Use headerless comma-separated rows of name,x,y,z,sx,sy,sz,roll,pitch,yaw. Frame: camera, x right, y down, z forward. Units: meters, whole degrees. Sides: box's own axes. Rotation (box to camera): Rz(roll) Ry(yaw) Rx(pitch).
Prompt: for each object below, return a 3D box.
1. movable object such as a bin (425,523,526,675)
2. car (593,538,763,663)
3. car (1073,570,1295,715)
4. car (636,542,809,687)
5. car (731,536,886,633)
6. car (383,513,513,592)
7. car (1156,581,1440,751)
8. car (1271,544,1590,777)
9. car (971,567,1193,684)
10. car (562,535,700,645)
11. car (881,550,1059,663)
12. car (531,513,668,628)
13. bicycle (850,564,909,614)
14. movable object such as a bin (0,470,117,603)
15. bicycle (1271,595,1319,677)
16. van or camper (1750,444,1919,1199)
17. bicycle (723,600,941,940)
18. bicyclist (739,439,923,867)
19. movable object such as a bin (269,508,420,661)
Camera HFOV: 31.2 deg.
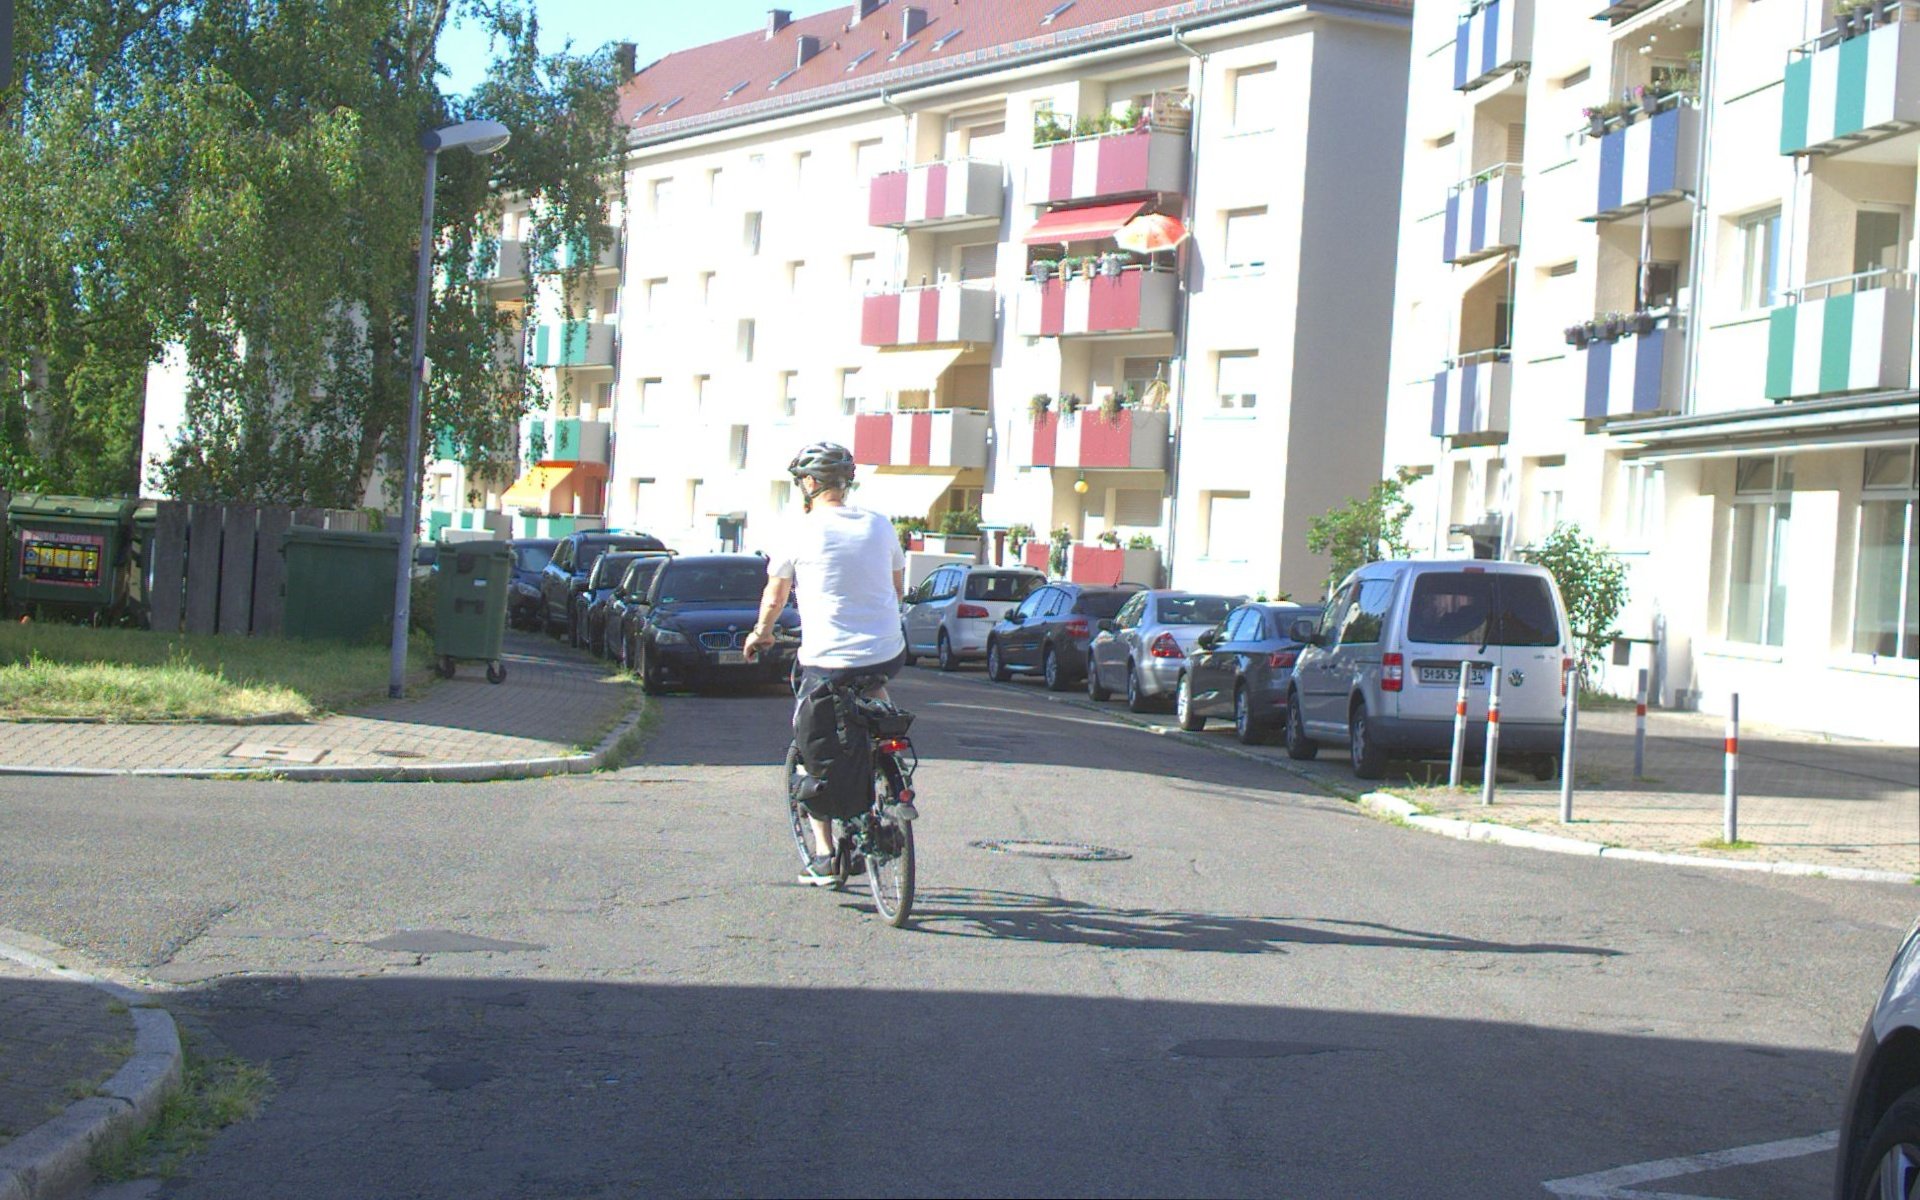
movable object such as a bin,-4.662,-0.024,33.149,0.775,1.388,1.417,4,1,-4
car,-3.549,-0.033,42.723,1.677,1.437,4.281,1,1,-10
car,2.613,0.461,41.272,1.677,1.442,4.725,4,1,-8
car,-2.658,0.112,37.668,1.677,1.448,4.621,1,1,-6
car,-2.949,-0.317,66.068,1.765,1.630,4.043,1,2,-21
car,-10.238,-0.966,68.533,1.693,1.384,4.158,3,1,-20
car,3.347,0.618,34.963,1.677,1.402,4.547,4,1,-9
car,3.945,0.456,29.504,1.746,1.817,4.132,1,1,-6
car,1.601,0.318,47.056,1.693,1.427,4.689,2,1,-15
car,-4.611,-0.164,47.799,1.555,1.437,3.969,1,1,-10
car,0.114,0.090,53.902,1.693,1.650,4.391,2,0,-14
car,-5.694,-0.490,53.899,1.555,1.708,4.339,1,1,-14
bicycle,-1.776,-0.246,75.372,0.617,0.975,1.897,0,4,-23
movable object such as a bin,-10.095,-0.711,38.518,1.060,1.430,1.003,2,1,-4
bicycle,5.124,0.541,52.689,0.514,1.198,1.761,2,1,0
van or camper,2.494,0.696,4.213,1.792,1.741,4.735,4,1,-1
bicycle,-0.527,0.621,13.375,0.627,1.111,1.817,4,2,-7
bicyclist,-0.511,0.183,13.286,0.596,1.573,0.907,1,3,-7
movable object such as a bin,-5.973,-0.152,33.390,1.220,1.375,0.767,5,1,1
